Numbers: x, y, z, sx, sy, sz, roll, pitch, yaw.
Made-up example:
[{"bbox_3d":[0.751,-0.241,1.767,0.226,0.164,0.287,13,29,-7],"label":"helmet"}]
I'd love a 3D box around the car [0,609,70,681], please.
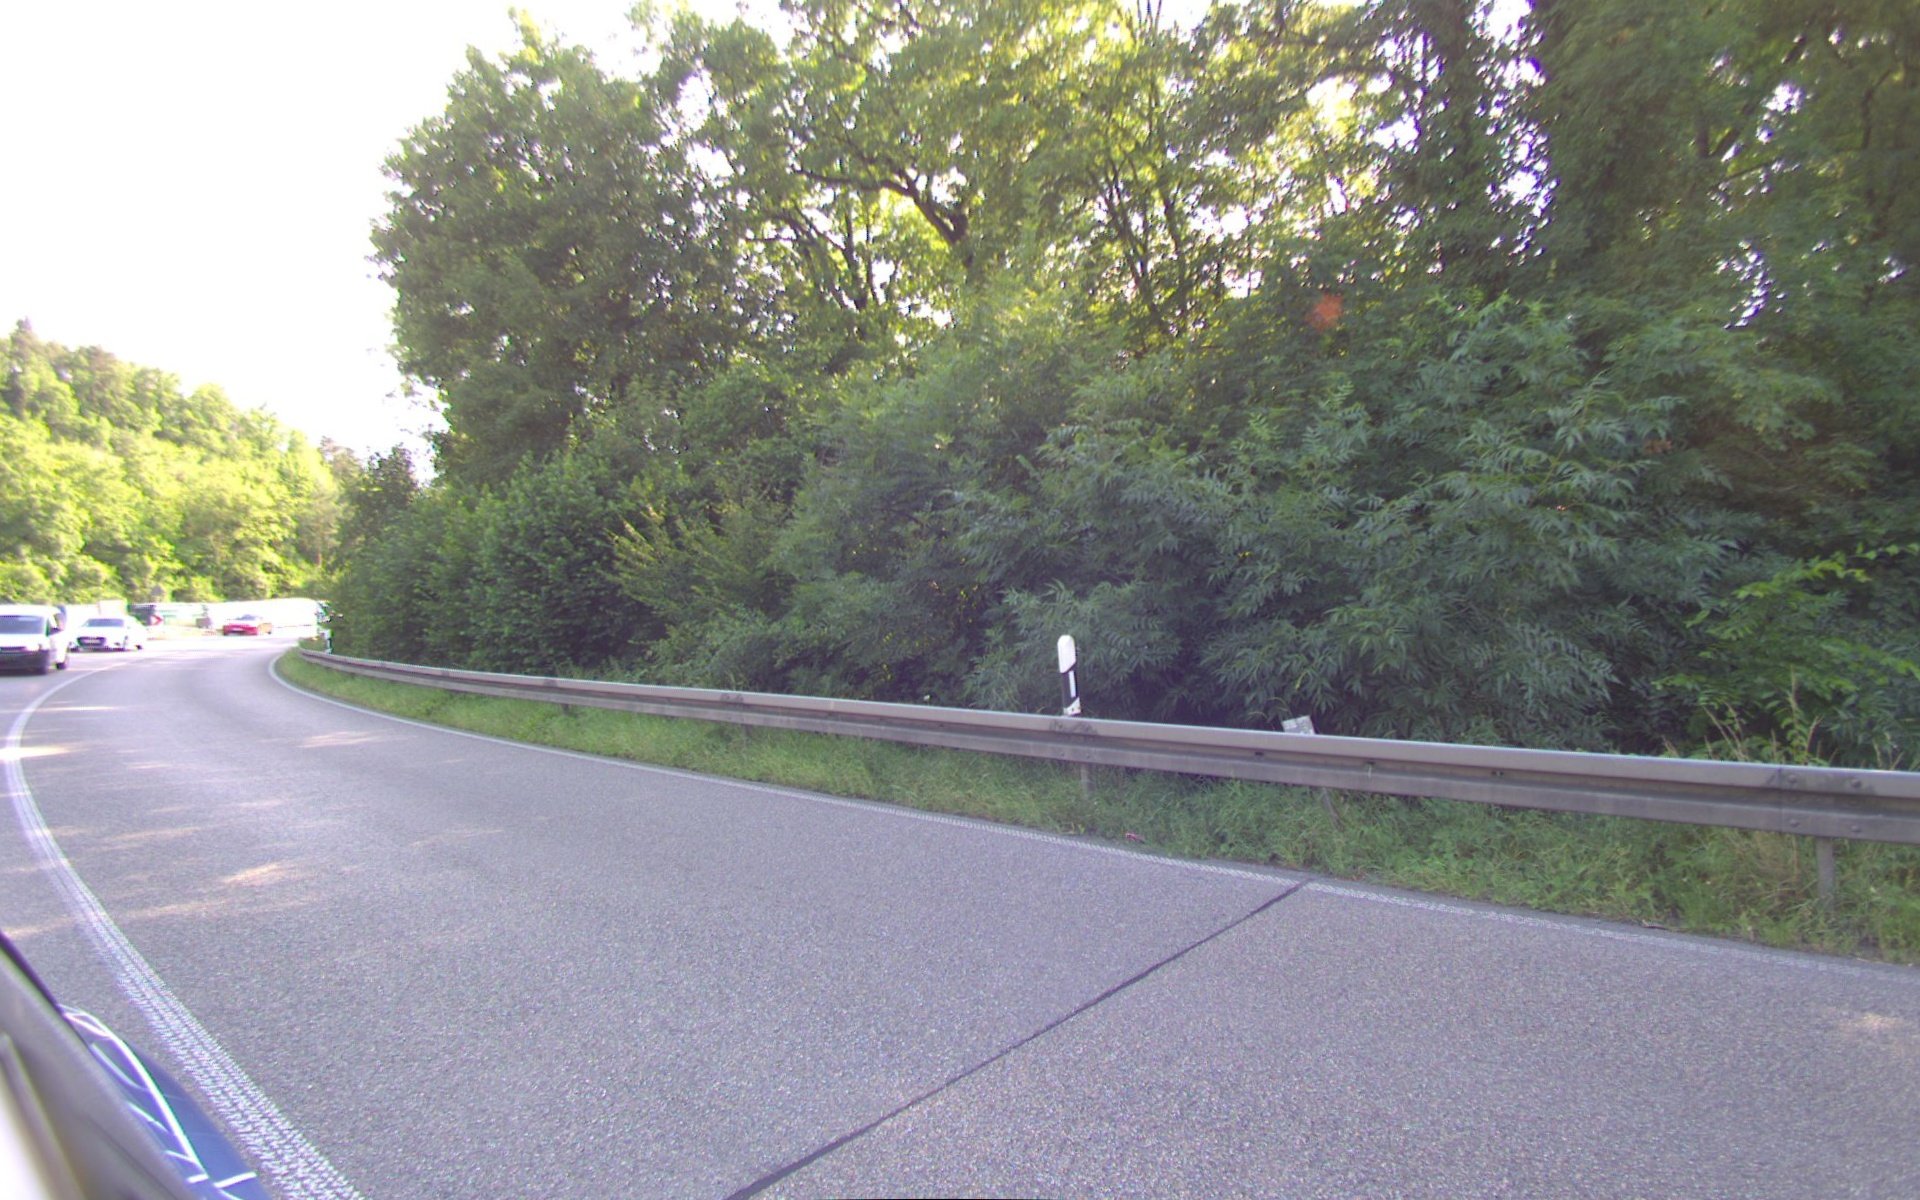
[{"bbox_3d":[-25.243,1.140,26.964,1.838,1.733,4.775,0,0,-36],"label":"car"}]

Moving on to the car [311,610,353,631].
[{"bbox_3d":[-50.505,1.642,81.492,1.884,1.476,4.551,-3,1,-19],"label":"car"}]

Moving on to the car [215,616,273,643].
[{"bbox_3d":[-44.400,1.779,62.859,1.829,1.431,4.434,-3,1,-21],"label":"car"}]

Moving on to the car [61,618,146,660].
[{"bbox_3d":[-34.899,1.542,41.347,1.866,1.456,4.489,-3,1,-31],"label":"car"}]
